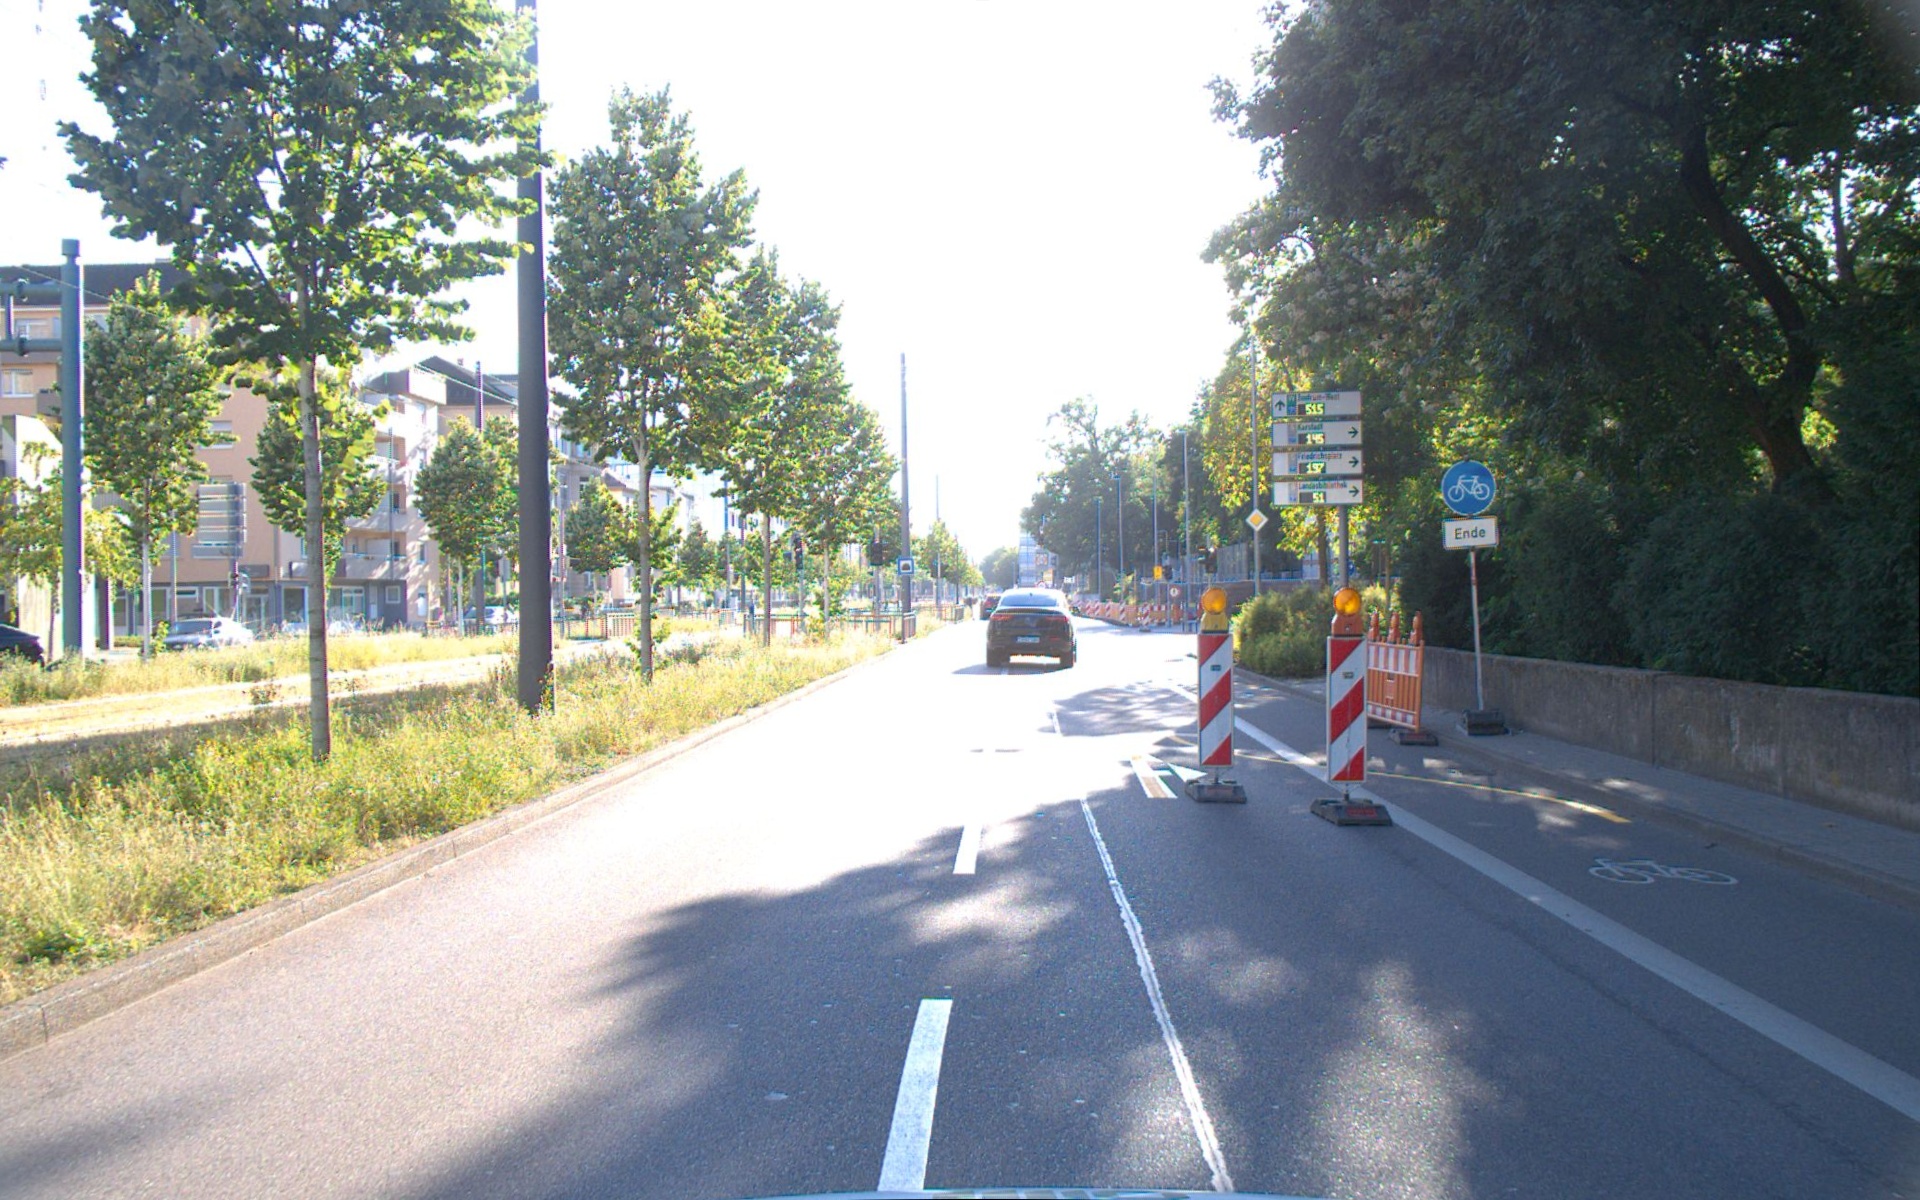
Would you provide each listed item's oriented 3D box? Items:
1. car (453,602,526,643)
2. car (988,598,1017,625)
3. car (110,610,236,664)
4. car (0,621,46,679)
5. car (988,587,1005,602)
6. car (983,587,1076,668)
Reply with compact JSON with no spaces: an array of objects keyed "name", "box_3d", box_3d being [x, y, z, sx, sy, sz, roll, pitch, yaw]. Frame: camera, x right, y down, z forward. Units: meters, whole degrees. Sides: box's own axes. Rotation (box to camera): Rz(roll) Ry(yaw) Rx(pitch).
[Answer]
[{"name":"car","box_3d":[-20.128,0.956,70.902,1.845,1.668,4.001,-1,0,2]},{"name":"car","box_3d":[2.700,0.727,105.961,1.847,1.608,4.001,0,1,1]},{"name":"car","box_3d":[-22.720,1.038,47.901,1.894,1.421,3.687,-1,0,-1]},{"name":"car","box_3d":[-28.192,1.425,46.612,3.963,1.590,1.971,0,0,-40]},{"name":"car","box_3d":[3.991,-0.580,179.859,1.847,1.608,4.001,0,1,1]},{"name":"car","box_3d":[1.548,0.596,38.175,1.953,1.765,4.000,0,0,0]}]
